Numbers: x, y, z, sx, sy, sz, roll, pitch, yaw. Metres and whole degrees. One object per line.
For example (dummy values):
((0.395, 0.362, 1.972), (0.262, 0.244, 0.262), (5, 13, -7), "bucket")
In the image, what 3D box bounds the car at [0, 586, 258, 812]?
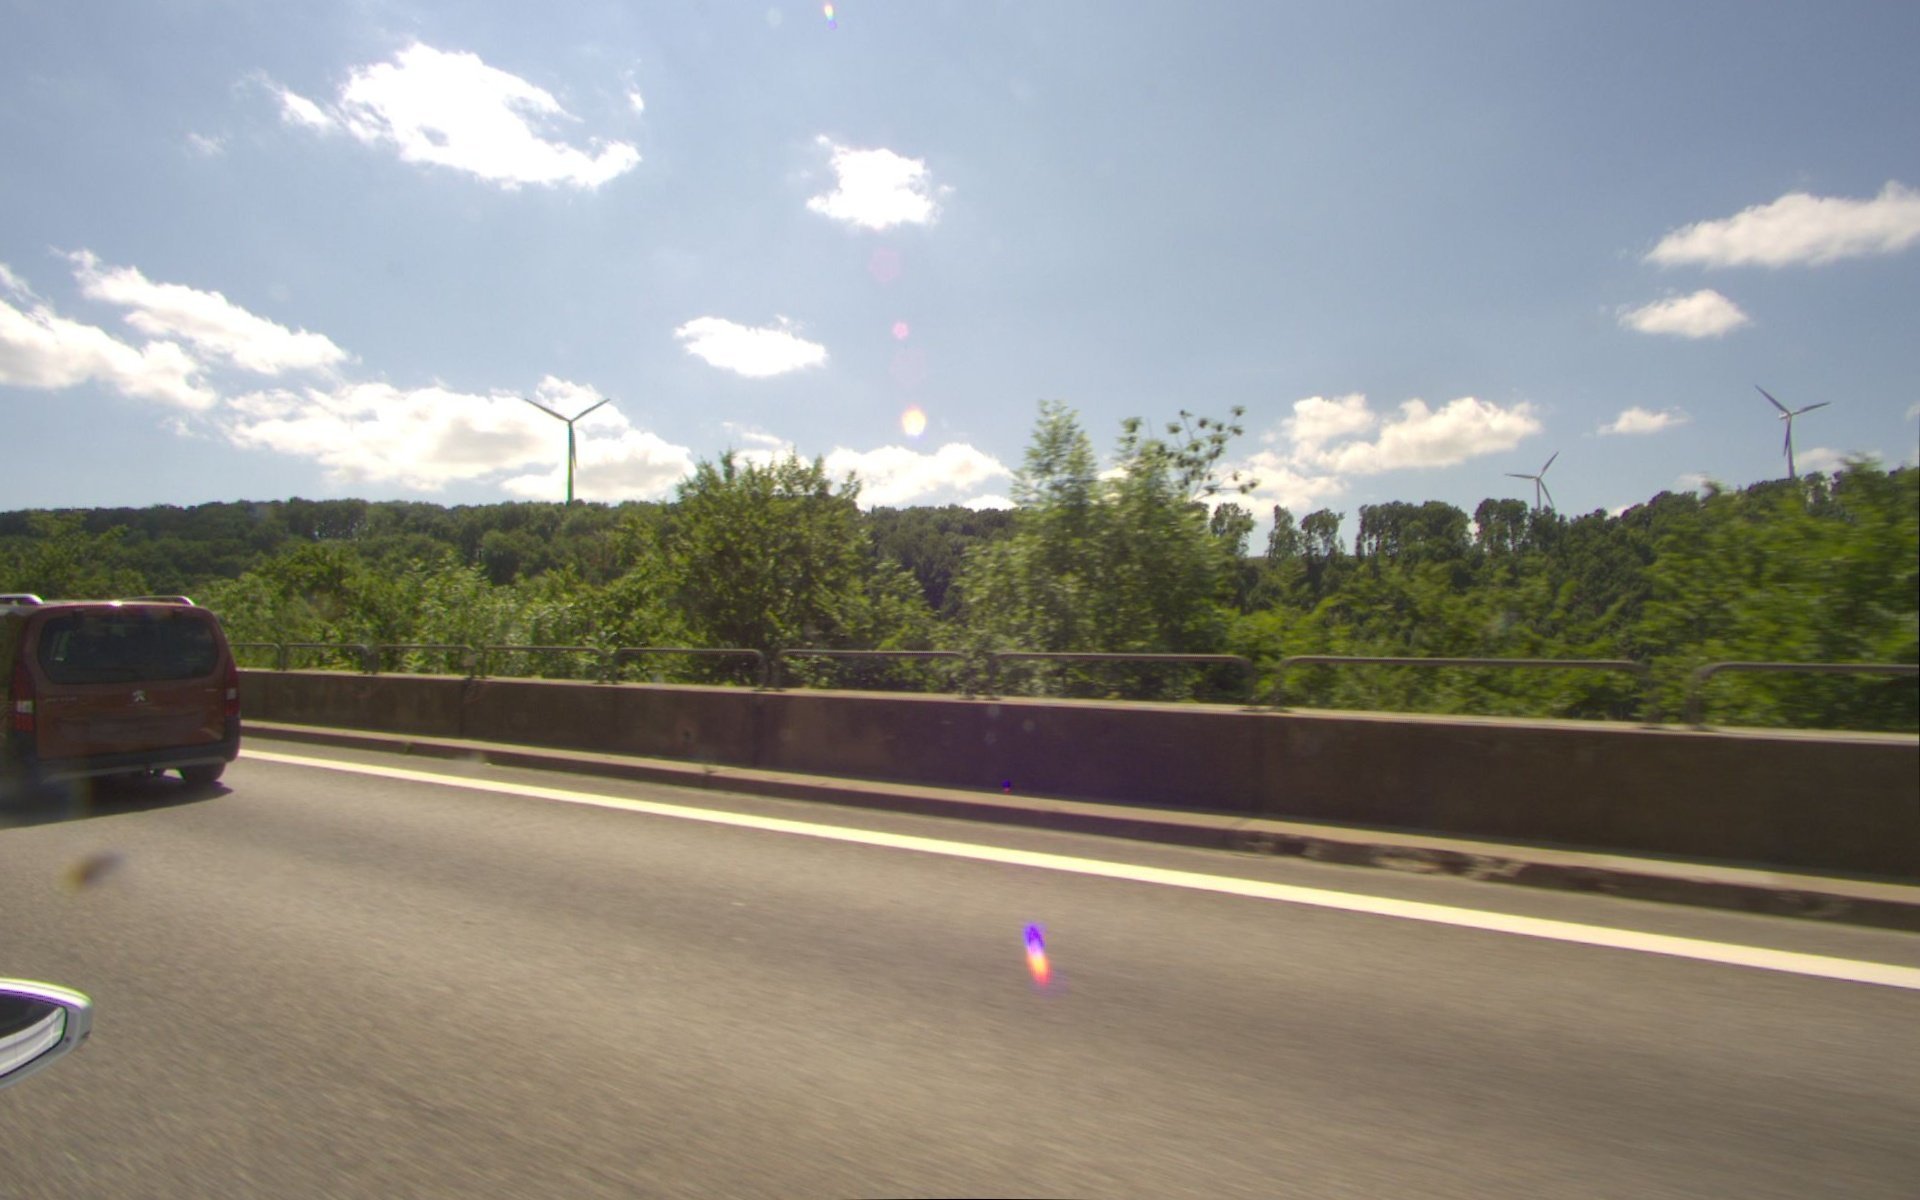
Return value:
((-9.143, 0.869, 10.028), (4.609, 1.807, 1.830), (-2, -2, 32), "car")
